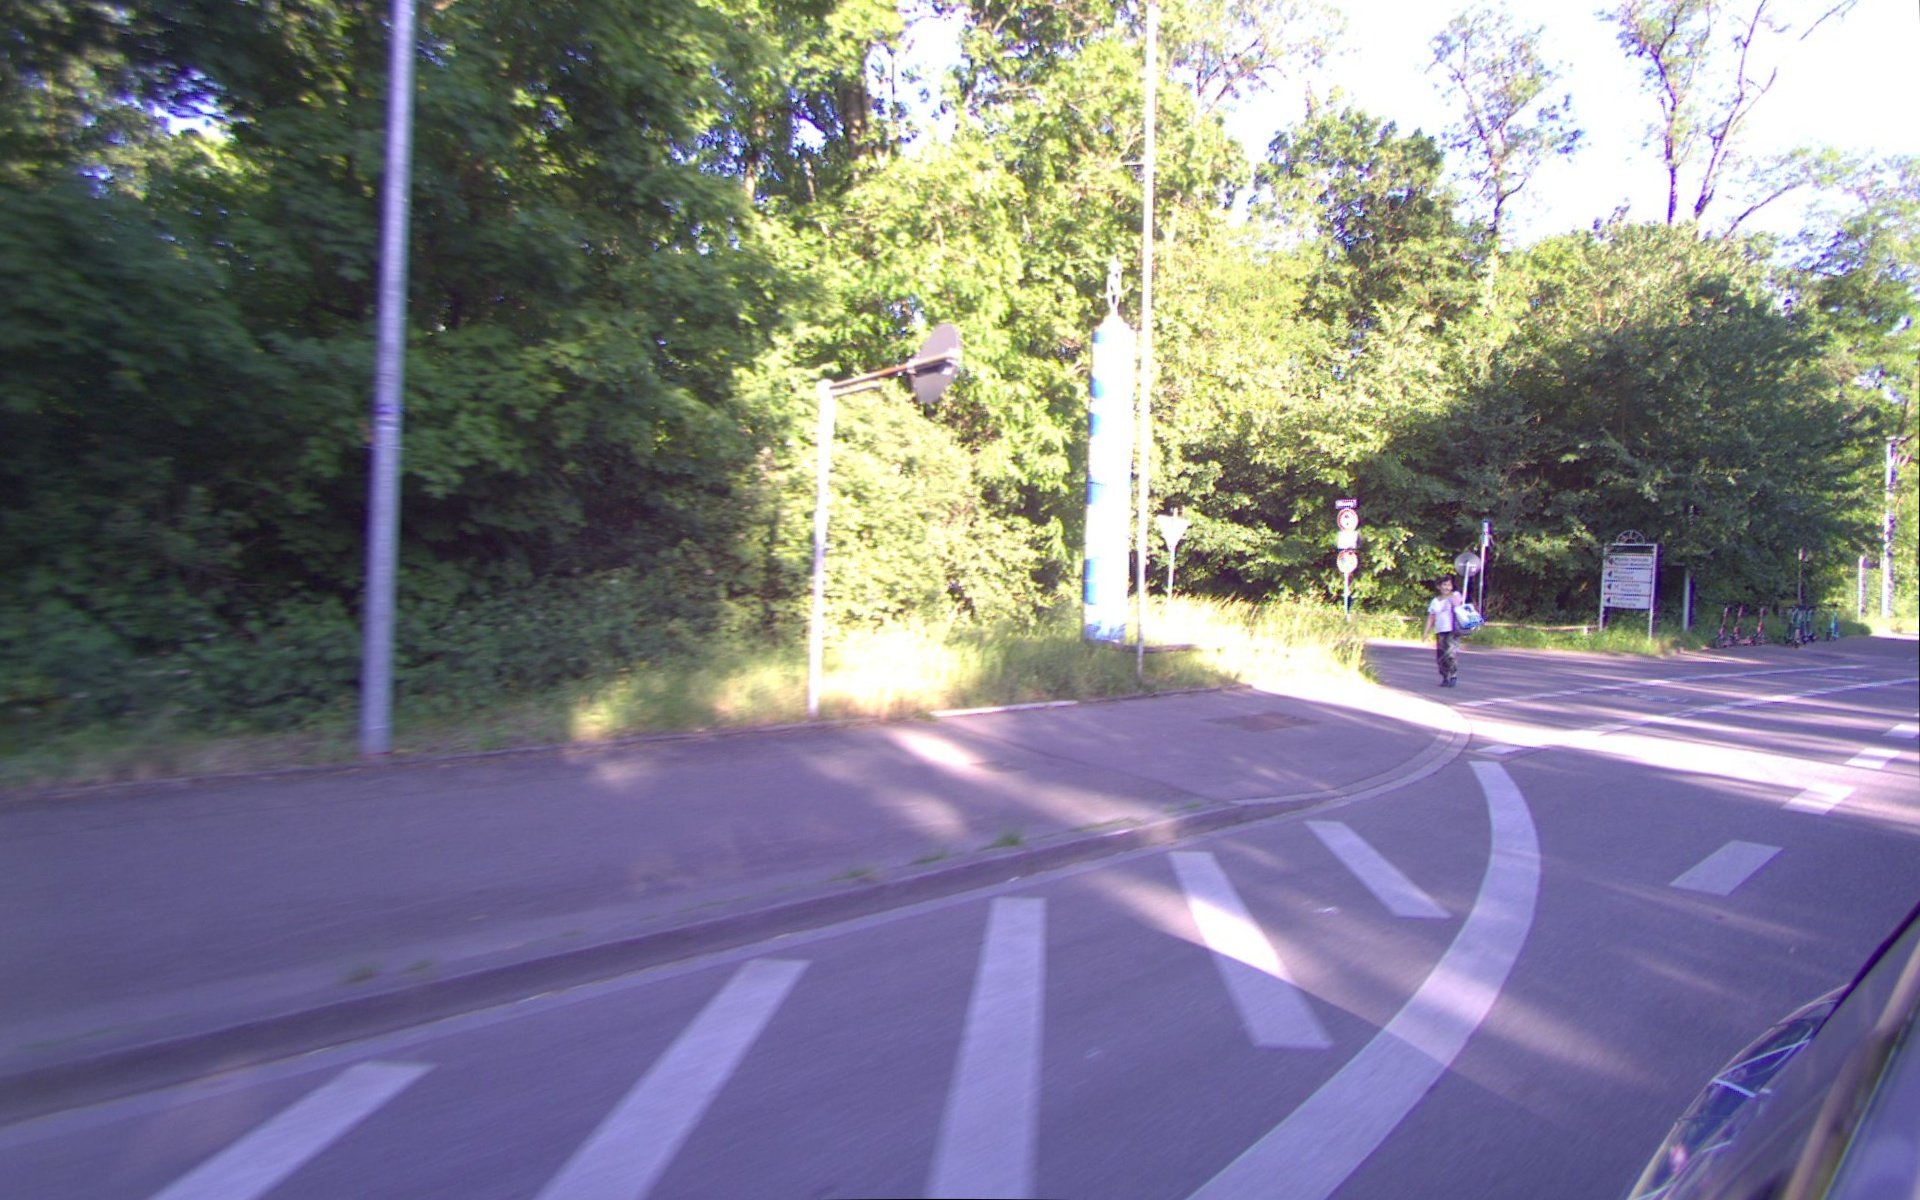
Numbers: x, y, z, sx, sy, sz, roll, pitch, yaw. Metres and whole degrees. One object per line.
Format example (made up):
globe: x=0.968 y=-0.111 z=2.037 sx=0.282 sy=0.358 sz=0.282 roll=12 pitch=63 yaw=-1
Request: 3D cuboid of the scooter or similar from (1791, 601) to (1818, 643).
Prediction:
scooter or similar: x=24.920 y=0.647 z=29.847 sx=1.084 sy=1.199 sz=0.386 roll=0 pitch=2 yaw=-40

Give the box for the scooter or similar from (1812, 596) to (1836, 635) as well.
scooter or similar: x=27.511 y=0.495 z=32.225 sx=1.084 sy=1.199 sz=0.386 roll=0 pitch=2 yaw=-40

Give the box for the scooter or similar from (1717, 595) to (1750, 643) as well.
scooter or similar: x=19.887 y=0.487 z=26.004 sx=1.167 sy=1.199 sz=0.386 roll=0 pitch=2 yaw=-40

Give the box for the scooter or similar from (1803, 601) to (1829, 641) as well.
scooter or similar: x=26.325 y=0.637 z=31.129 sx=1.084 sy=1.199 sz=0.386 roll=0 pitch=2 yaw=-40

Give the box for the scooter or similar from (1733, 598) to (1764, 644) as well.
scooter or similar: x=21.137 y=0.557 z=27.124 sx=1.084 sy=1.199 sz=0.386 roll=0 pitch=2 yaw=-40

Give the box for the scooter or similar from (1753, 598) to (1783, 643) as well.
scooter or similar: x=22.155 y=0.551 z=27.740 sx=1.084 sy=1.199 sz=0.386 roll=0 pitch=2 yaw=-40

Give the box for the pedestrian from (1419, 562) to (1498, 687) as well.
pedestrian: x=7.564 y=0.349 z=15.369 sx=0.721 sy=1.821 sz=0.808 roll=0 pitch=2 yaw=-41

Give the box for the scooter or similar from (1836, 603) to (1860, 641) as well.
scooter or similar: x=29.167 y=0.708 z=33.230 sx=1.084 sy=1.199 sz=0.386 roll=0 pitch=2 yaw=-40

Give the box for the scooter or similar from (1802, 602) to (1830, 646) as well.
scooter or similar: x=24.072 y=0.667 z=28.464 sx=1.084 sy=1.199 sz=0.386 roll=0 pitch=2 yaw=-40
